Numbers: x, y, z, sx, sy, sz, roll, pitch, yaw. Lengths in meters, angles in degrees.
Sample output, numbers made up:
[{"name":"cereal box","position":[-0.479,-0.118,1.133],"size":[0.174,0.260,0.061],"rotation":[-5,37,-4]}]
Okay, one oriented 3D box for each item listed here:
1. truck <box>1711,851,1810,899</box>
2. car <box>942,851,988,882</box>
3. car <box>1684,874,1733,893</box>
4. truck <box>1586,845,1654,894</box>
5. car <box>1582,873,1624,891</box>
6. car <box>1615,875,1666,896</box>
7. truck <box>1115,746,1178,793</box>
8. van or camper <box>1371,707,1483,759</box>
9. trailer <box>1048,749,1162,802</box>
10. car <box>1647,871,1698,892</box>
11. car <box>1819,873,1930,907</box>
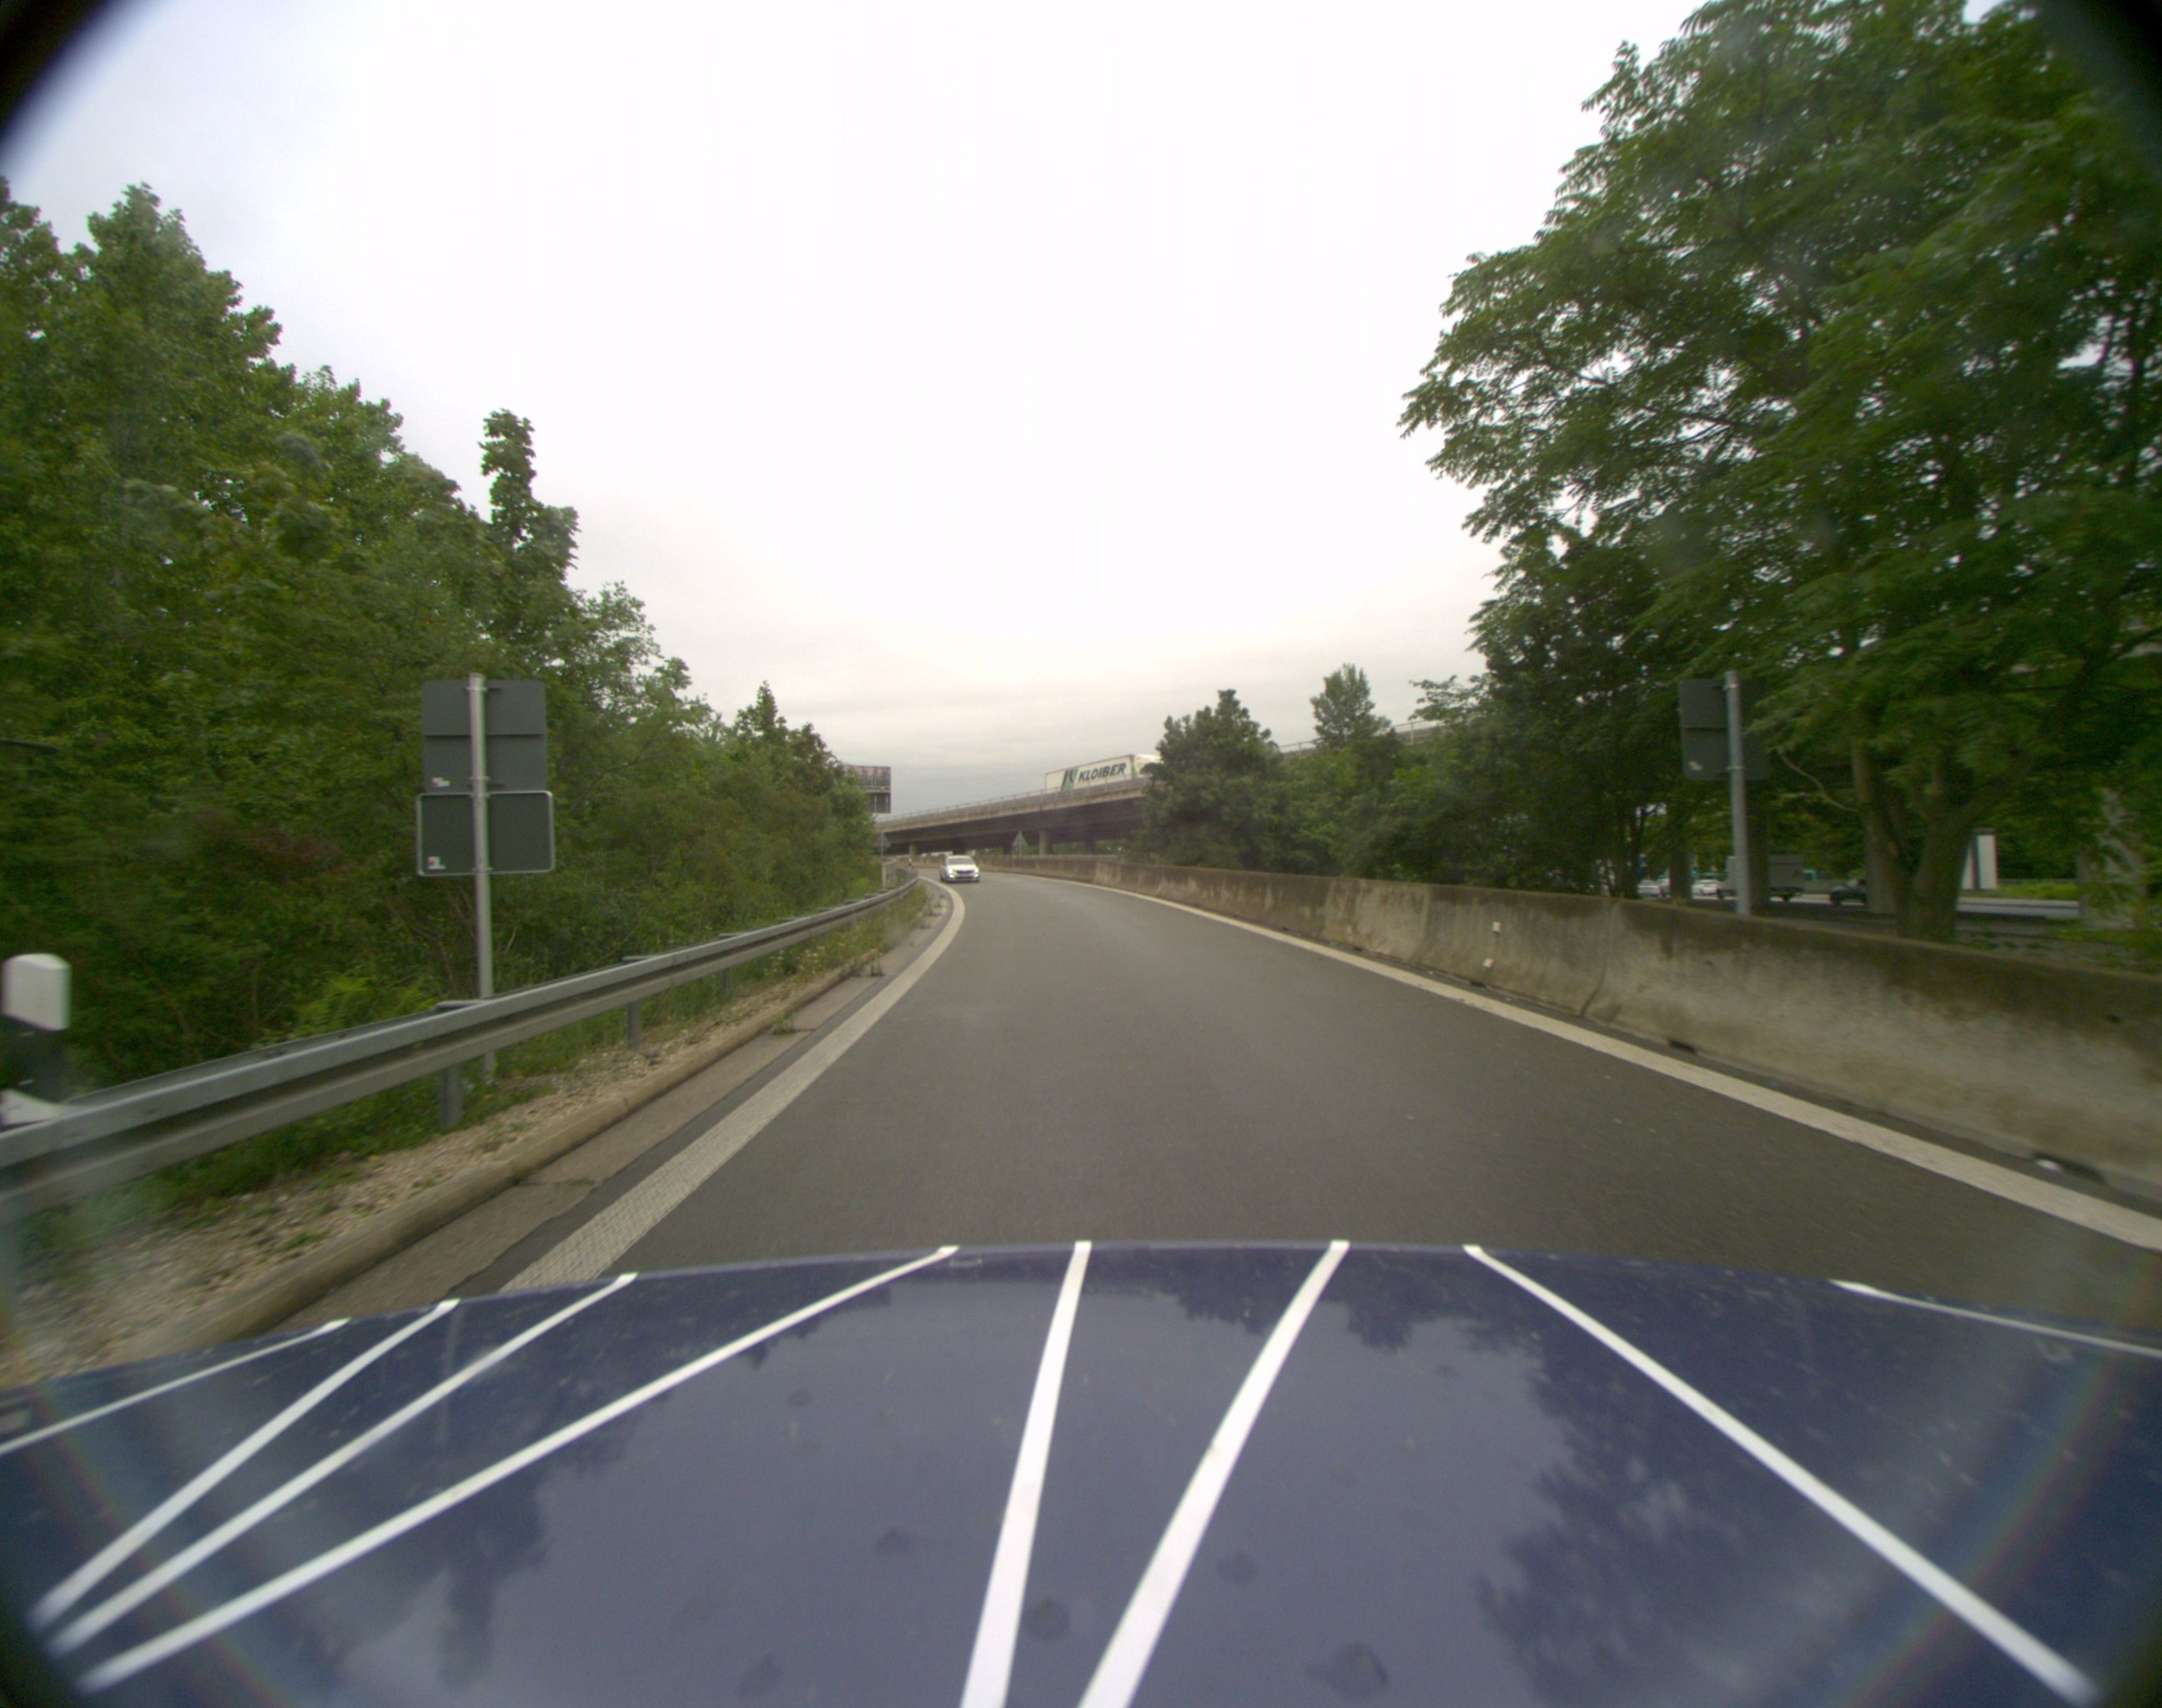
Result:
[{"name":"truck","position":[45.406,1.345,51.026],"size":[2.255,2.959,7.244],"rotation":[1,-1,19]},{"name":"car","position":[-6.440,0.641,41.809],"size":[1.917,1.439,4.549],"rotation":[-2,2,-16]},{"name":"car","position":[58.405,2.728,70.794],"size":[1.971,1.574,4.598],"rotation":[1,0,18]},{"name":"truck","position":[53.789,1.513,76.134],"size":[2.793,4.564,9.617],"rotation":[1,0,19]},{"name":"car","position":[49.901,2.621,72.789],"size":[1.971,1.574,4.597],"rotation":[1,0,16]},{"name":"car","position":[46.219,2.593,62.877],"size":[1.971,1.574,4.597],"rotation":[1,0,16]},{"name":"truck","position":[5.547,-7.129,64.834],"size":[2.602,3.226,5.182],"rotation":[-1,-1,-35]},{"name":"van or camper","position":[20.089,-6.976,44.358],"size":[2.335,2.001,5.494],"rotation":[-1,-1,-33]},{"name":"trailer","position":[1.799,-7.054,70.245],"size":[2.671,3.278,14.026],"rotation":[-1,-1,-35]},{"name":"car","position":[49.829,2.284,64.142],"size":[1.971,1.574,4.598],"rotation":[1,0,19]},{"name":"car","position":[41.363,1.836,39.790],"size":[1.971,1.574,4.597],"rotation":[1,0,16]}]
